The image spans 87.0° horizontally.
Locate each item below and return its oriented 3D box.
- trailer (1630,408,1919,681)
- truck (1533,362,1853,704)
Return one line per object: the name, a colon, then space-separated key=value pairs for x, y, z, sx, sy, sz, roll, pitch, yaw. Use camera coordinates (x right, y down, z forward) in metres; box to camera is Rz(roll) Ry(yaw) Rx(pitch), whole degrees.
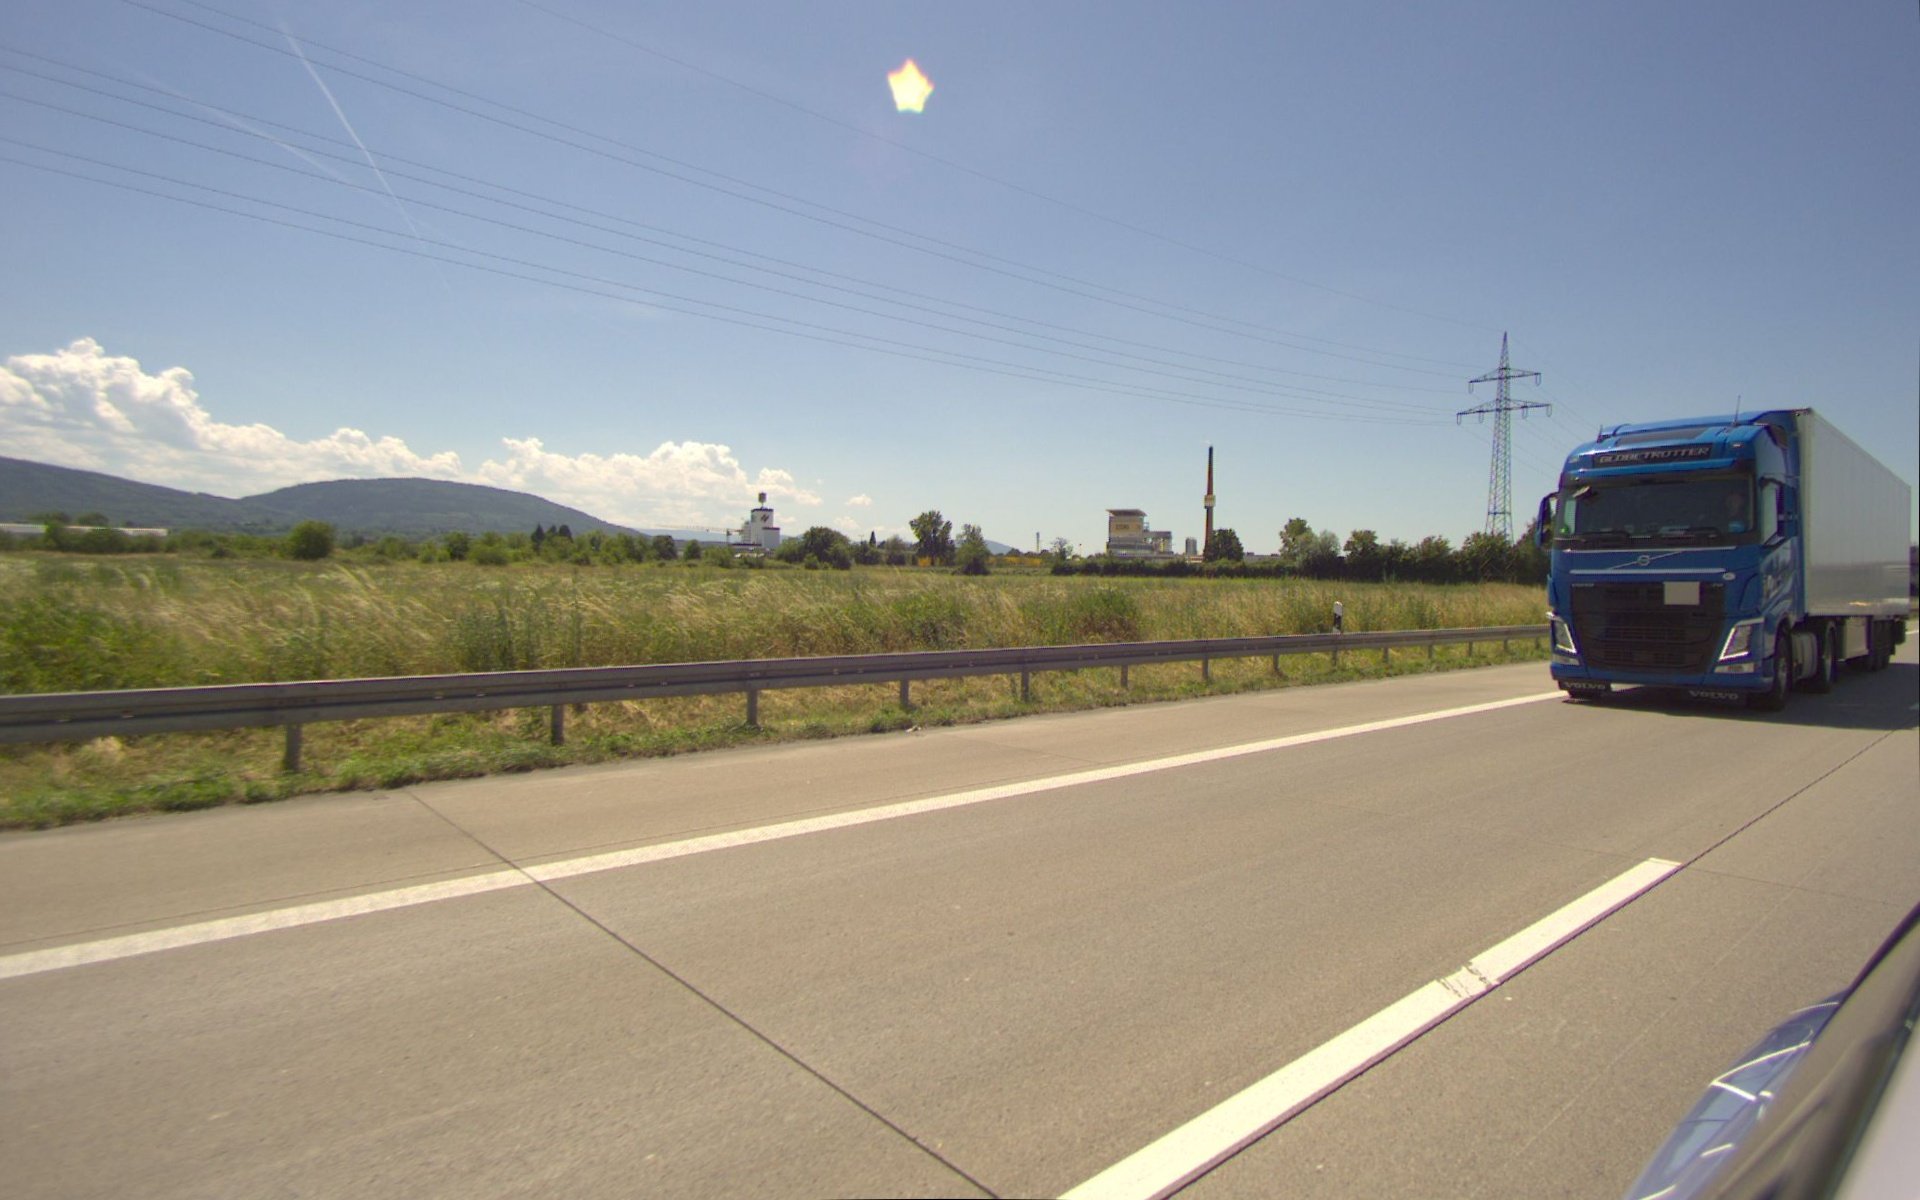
trailer: x=17.079 y=-0.887 z=20.355 sx=12.676 sy=4.095 sz=2.713 roll=-1 pitch=0 yaw=-41
truck: x=10.953 y=-0.825 z=14.956 sx=5.372 sy=4.095 sz=2.754 roll=0 pitch=0 yaw=-42
